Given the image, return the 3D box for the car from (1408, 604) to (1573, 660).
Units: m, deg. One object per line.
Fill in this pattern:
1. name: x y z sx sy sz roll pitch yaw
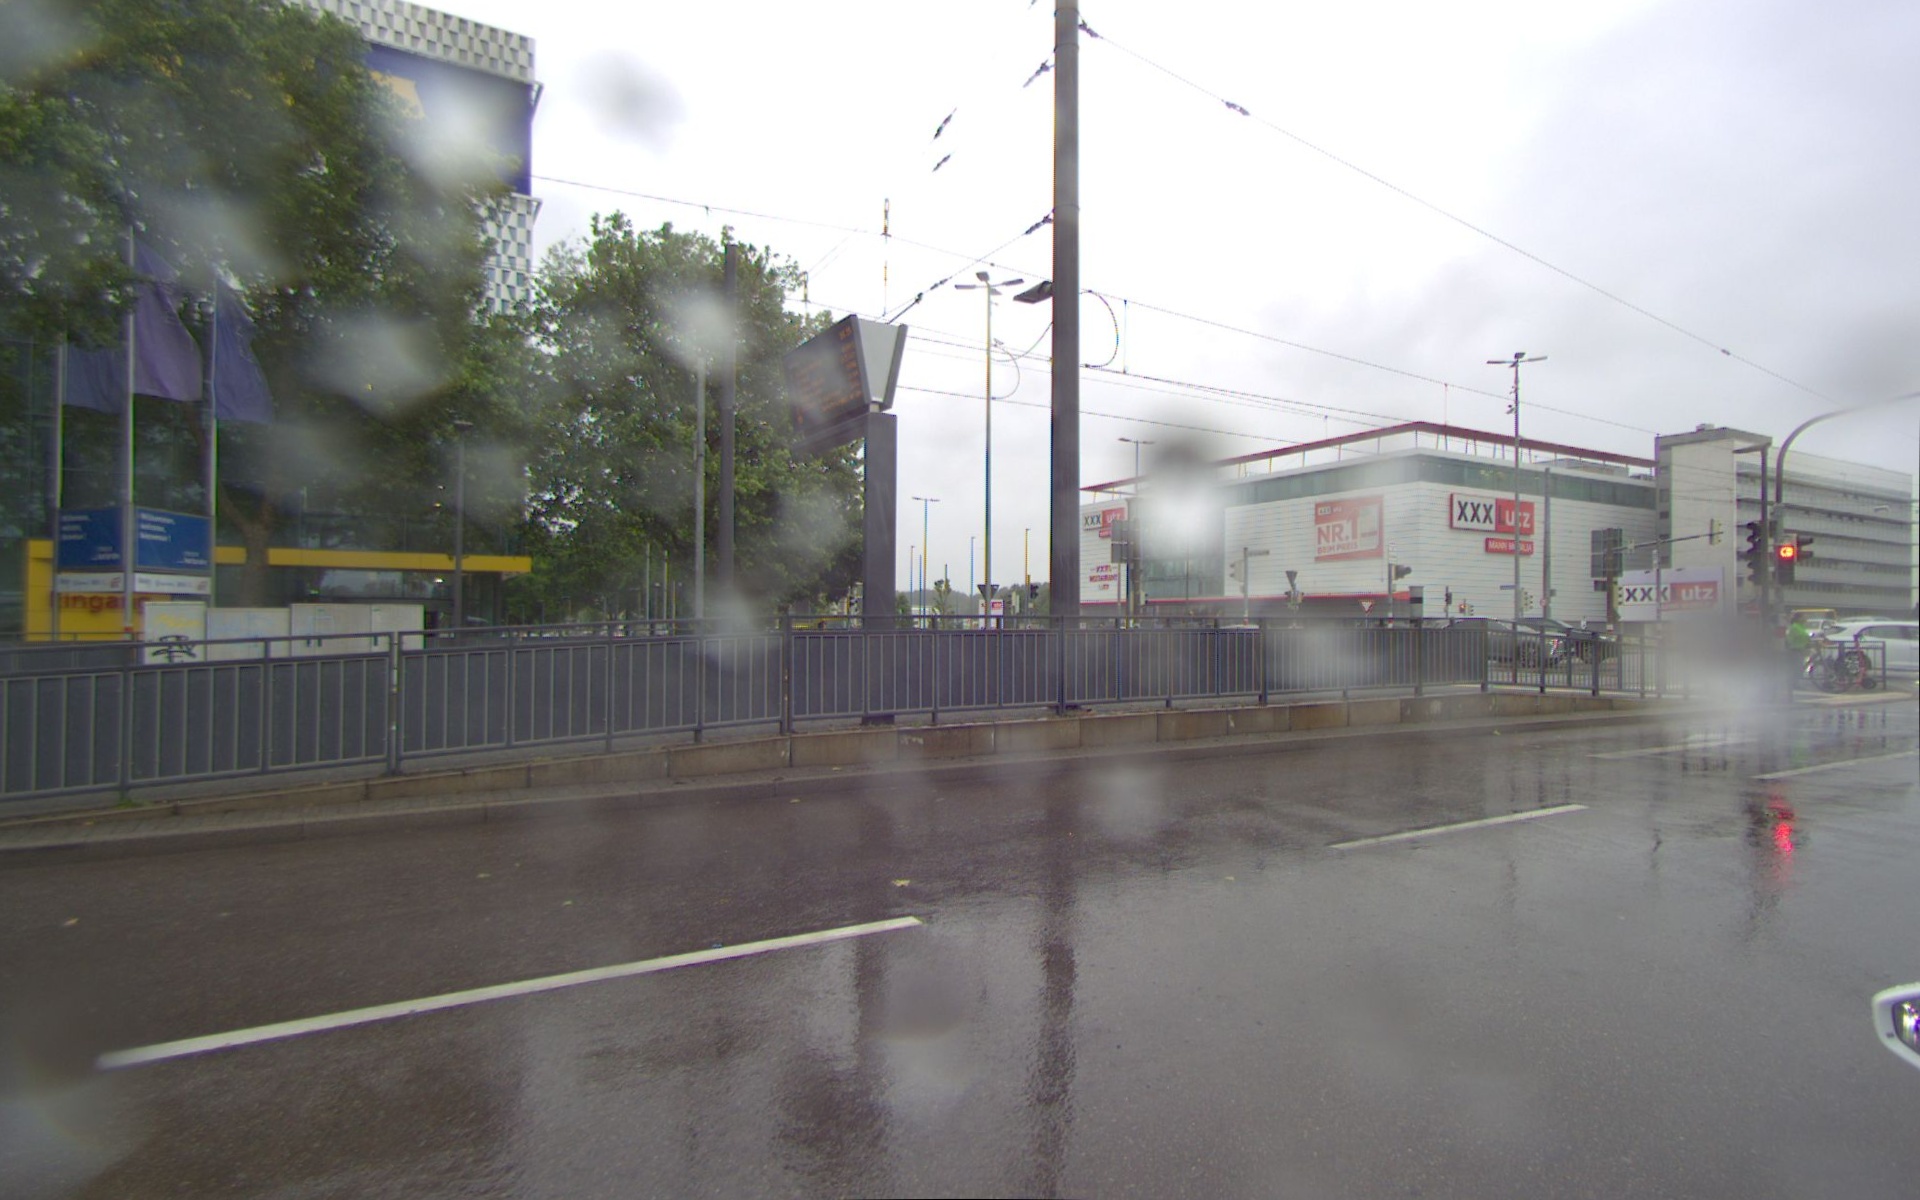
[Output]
1. car: 17.452 1.022 33.217 1.701 1.521 4.454 2 1 -41

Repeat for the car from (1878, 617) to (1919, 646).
1. car: 51.742 1.725 54.710 3.527 1.445 1.552 2 1 -30

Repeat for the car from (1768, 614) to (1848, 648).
1. car: 40.584 1.508 48.063 3.765 1.445 1.702 2 1 -30

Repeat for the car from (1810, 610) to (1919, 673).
1. car: 25.422 1.146 26.587 4.202 1.521 1.816 3 1 35

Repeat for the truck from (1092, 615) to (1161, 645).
1. truck: 13.010 2.333 79.007 1.990 1.968 5.847 2 1 -31

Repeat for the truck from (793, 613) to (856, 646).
1. truck: -11.450 2.430 84.242 2.445 2.240 7.329 3 1 -31

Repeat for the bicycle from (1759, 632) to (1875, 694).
1. bicycle: 17.634 1.284 20.709 1.724 1.153 0.520 2 1 18

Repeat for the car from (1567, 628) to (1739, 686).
1. car: 23.082 1.854 33.562 1.703 1.521 4.450 2 1 -44

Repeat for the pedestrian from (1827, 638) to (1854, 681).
1. pedestrian: 19.257 1.301 21.963 0.376 0.909 0.313 1 2 -32

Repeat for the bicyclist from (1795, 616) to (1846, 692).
1. bicyclist: 17.709 1.107 20.685 0.593 1.511 0.600 2 1 20
